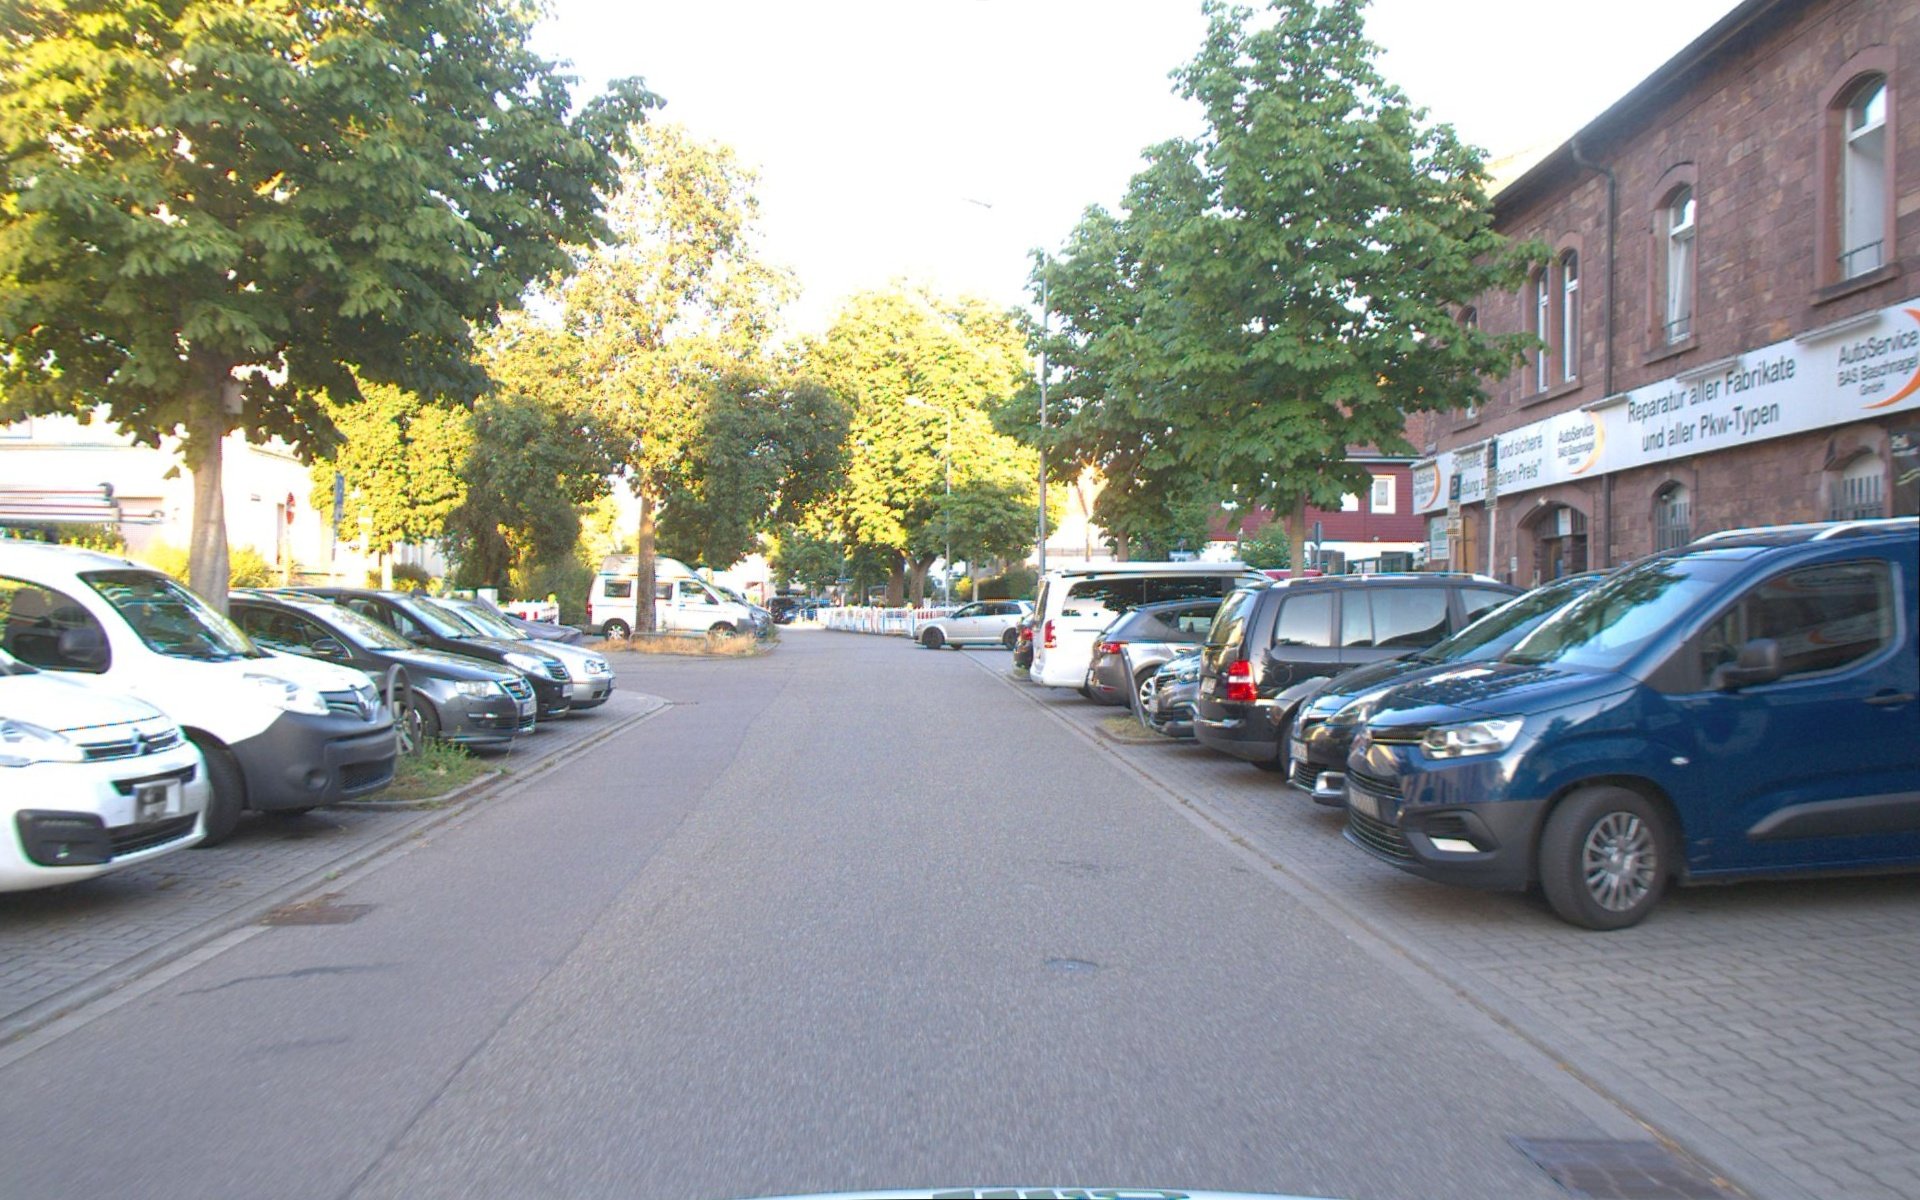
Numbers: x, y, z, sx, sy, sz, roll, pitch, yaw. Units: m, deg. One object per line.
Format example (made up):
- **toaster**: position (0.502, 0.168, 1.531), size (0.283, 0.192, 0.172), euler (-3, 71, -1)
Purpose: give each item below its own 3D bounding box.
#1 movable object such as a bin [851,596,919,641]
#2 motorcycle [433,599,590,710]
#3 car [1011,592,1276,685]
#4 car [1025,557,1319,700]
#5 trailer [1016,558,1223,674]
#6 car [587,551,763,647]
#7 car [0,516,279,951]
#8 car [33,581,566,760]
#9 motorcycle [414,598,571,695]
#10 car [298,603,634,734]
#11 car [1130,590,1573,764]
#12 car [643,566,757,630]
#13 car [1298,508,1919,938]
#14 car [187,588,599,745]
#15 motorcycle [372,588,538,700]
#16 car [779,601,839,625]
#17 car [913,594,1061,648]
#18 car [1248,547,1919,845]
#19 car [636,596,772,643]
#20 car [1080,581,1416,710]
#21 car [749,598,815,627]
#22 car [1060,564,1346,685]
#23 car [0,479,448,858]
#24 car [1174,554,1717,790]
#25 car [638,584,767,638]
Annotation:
- **movable object such as a bin**: position (-4.177, 1.015, 91.377), size (2.586, 2.445, 5.173), euler (1, -1, -17)
- **motorcycle**: position (-6.044, 0.731, 22.380), size (1.948, 1.461, 0.720), euler (0, -1, -7)
- **car**: position (3.113, 0.654, 28.567), size (4.338, 1.525, 1.772), euler (0, -1, -3)
- **car**: position (2.970, 0.408, 23.749), size (3.907, 1.937, 1.999), euler (0, -1, -3)
- **trailer**: position (3.143, 0.315, 33.173), size (3.907, 2.226, 1.999), euler (0, -1, -3)
- **car**: position (-8.022, -0.015, 46.823), size (4.636, 2.614, 1.999), euler (0, -1, -2)
- **car**: position (-5.897, 0.496, 7.995), size (4.331, 1.833, 1.943), euler (2, 0, 0)
- **car**: position (-6.101, 0.636, 15.667), size (4.238, 1.430, 1.851), euler (2, -1, 0)
- **motorcycle**: position (-7.228, 0.714, 25.642), size (2.185, 1.461, 0.774), euler (0, -1, 1)
- **car**: position (-6.046, 0.818, 20.541), size (3.637, 1.532, 1.689), euler (0, -1, 0)
- **car**: position (3.755, 0.724, 16.249), size (3.869, 1.593, 1.818), euler (0, -1, -6)
- **car**: position (-10.352, -0.053, 65.903), size (4.419, 2.473, 1.995), euler (1, -1, -10)
- **car**: position (4.336, 0.463, 8.459), size (4.691, 1.784, 2.016), euler (-3, 1, -3)
- **car**: position (-6.130, 0.703, 18.206), size (3.905, 1.611, 1.728), euler (0, -1, -1)
- **motorcycle**: position (-7.418, 0.639, 24.349), size (2.185, 1.610, 0.774), euler (0, -1, 1)
- **car**: position (-10.736, 0.951, 117.304), size (3.932, 1.680, 1.753), euler (1, -1, -23)
- **car**: position (0.788, 0.580, 47.706), size (3.905, 1.514, 1.813), euler (0, 0, 22)
- **car**: position (4.347, 0.562, 11.211), size (4.327, 1.602, 1.980), euler (-3, 1, -3)
- **car**: position (-8.176, 0.635, 53.093), size (4.160, 1.418, 1.683), euler (1, -1, -4)
- **car**: position (3.557, 0.564, 20.918), size (3.907, 1.536, 1.775), euler (0, -1, -3)
- **car**: position (-13.039, 0.916, 121.259), size (4.490, 2.058, 2.089), euler (1, -1, -20)
- **car**: position (3.793, 0.384, 26.287), size (4.214, 1.831, 1.903), euler (0, -1, -3)
- **car**: position (-5.887, 0.320, 10.684), size (4.419, 2.106, 2.000), euler (3, 1, 1)
- **car**: position (3.922, 0.558, 13.827), size (3.908, 1.647, 1.894), euler (-3, 0, -3)
- **car**: position (-9.455, 0.402, 60.841), size (4.588, 1.906, 1.995), euler (1, -1, -10)
